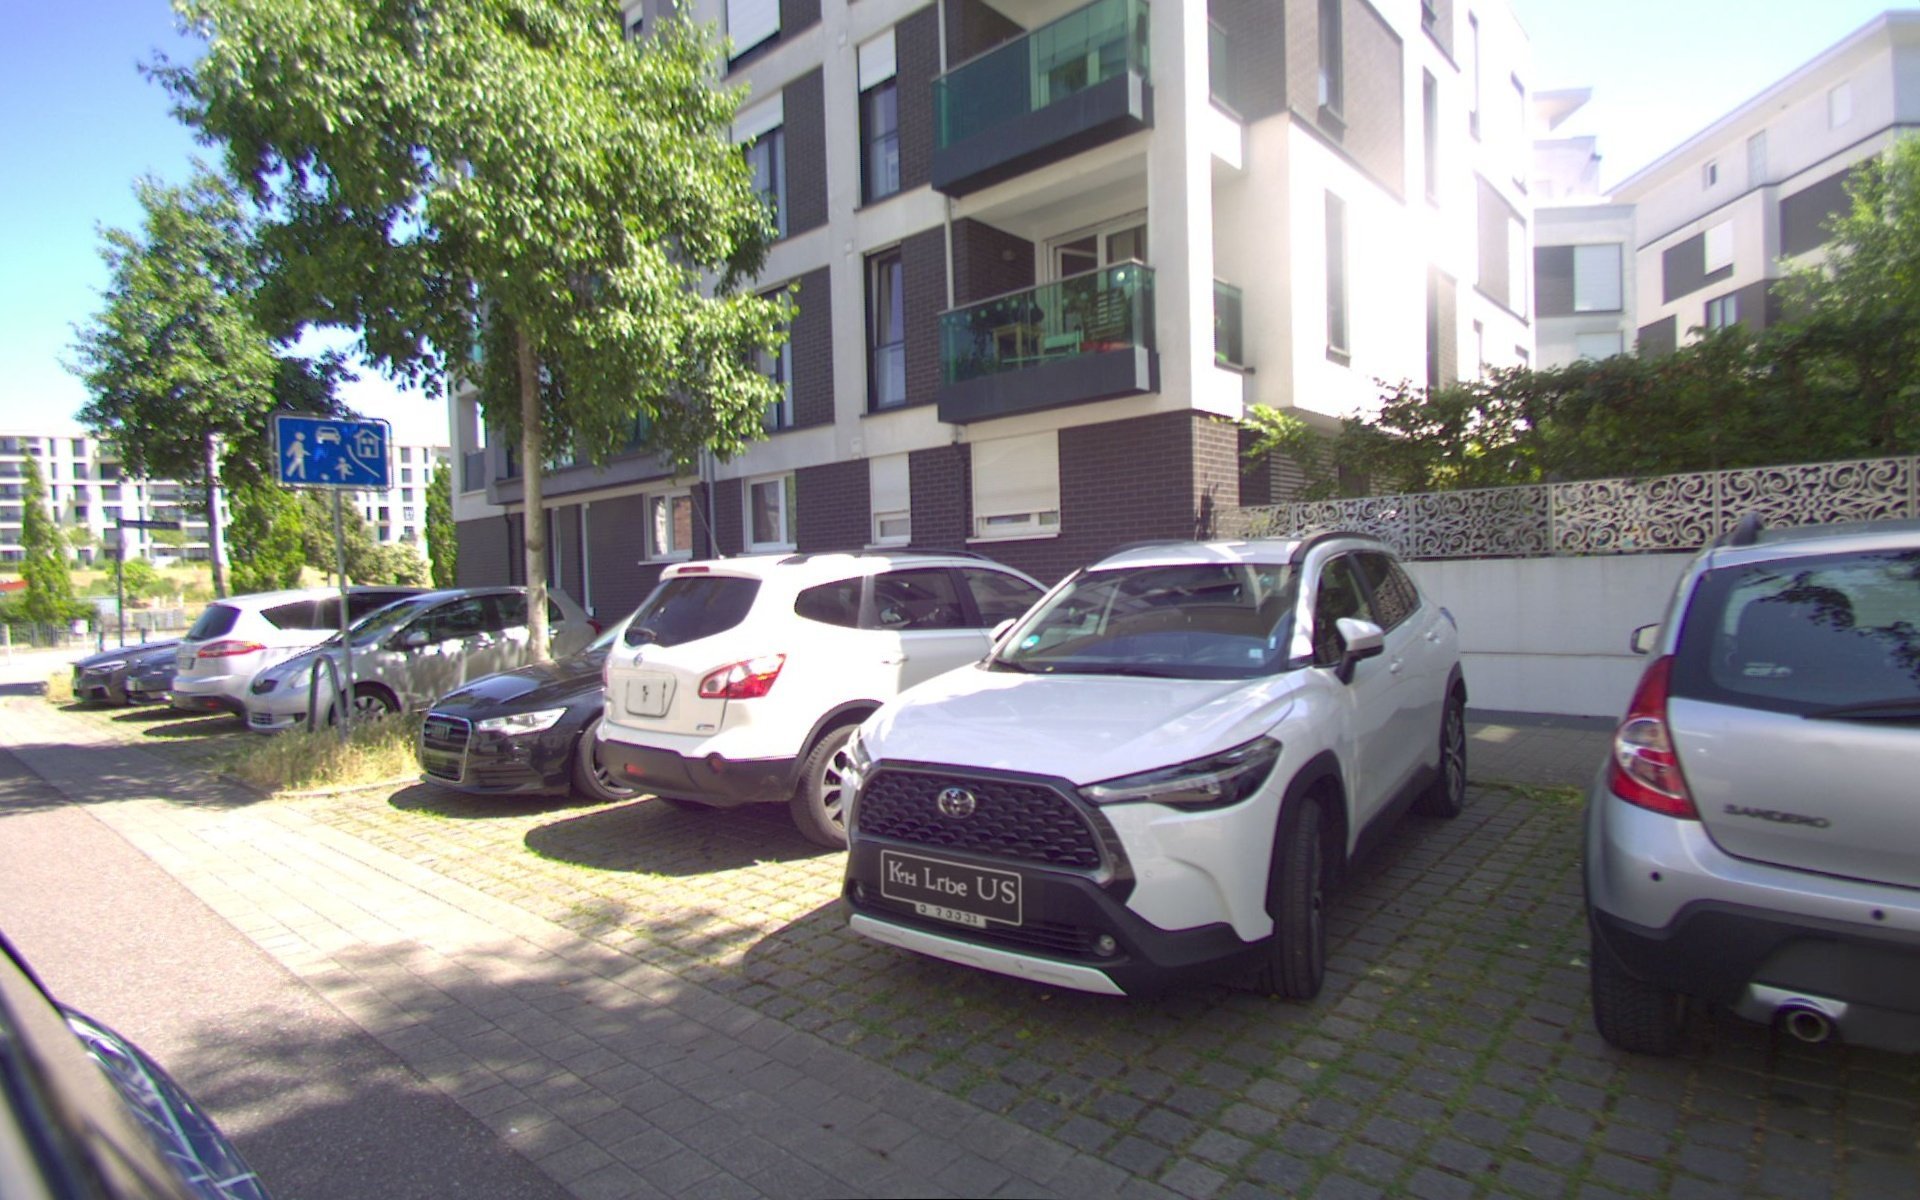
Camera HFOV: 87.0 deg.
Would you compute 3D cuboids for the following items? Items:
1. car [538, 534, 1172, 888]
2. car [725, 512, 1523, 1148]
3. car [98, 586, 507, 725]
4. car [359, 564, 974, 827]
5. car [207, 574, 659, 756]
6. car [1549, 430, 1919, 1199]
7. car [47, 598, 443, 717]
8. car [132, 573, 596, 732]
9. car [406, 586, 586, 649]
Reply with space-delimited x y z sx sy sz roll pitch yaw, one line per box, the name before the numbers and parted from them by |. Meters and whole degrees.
car | -0.475 0.445 6.913 1.950 1.641 3.937 -1 3 44
car | 1.295 0.459 4.942 1.963 1.605 4.518 -1 3 36
car | -9.624 0.679 15.220 1.826 1.459 4.772 -1 4 39
car | -2.158 0.545 8.699 1.829 1.467 4.800 -1 3 42
car | -5.861 0.590 11.726 1.820 1.542 4.211 -2 2 38
car | 3.413 0.382 3.357 1.851 1.688 3.642 -1 2 41
car | -11.671 0.817 16.891 1.926 1.496 5.049 0 2 39
car | -7.763 0.549 13.681 2.040 1.644 4.979 -2 1 39
car | -13.209 0.455 29.032 1.776 1.531 4.344 -3 0 36
